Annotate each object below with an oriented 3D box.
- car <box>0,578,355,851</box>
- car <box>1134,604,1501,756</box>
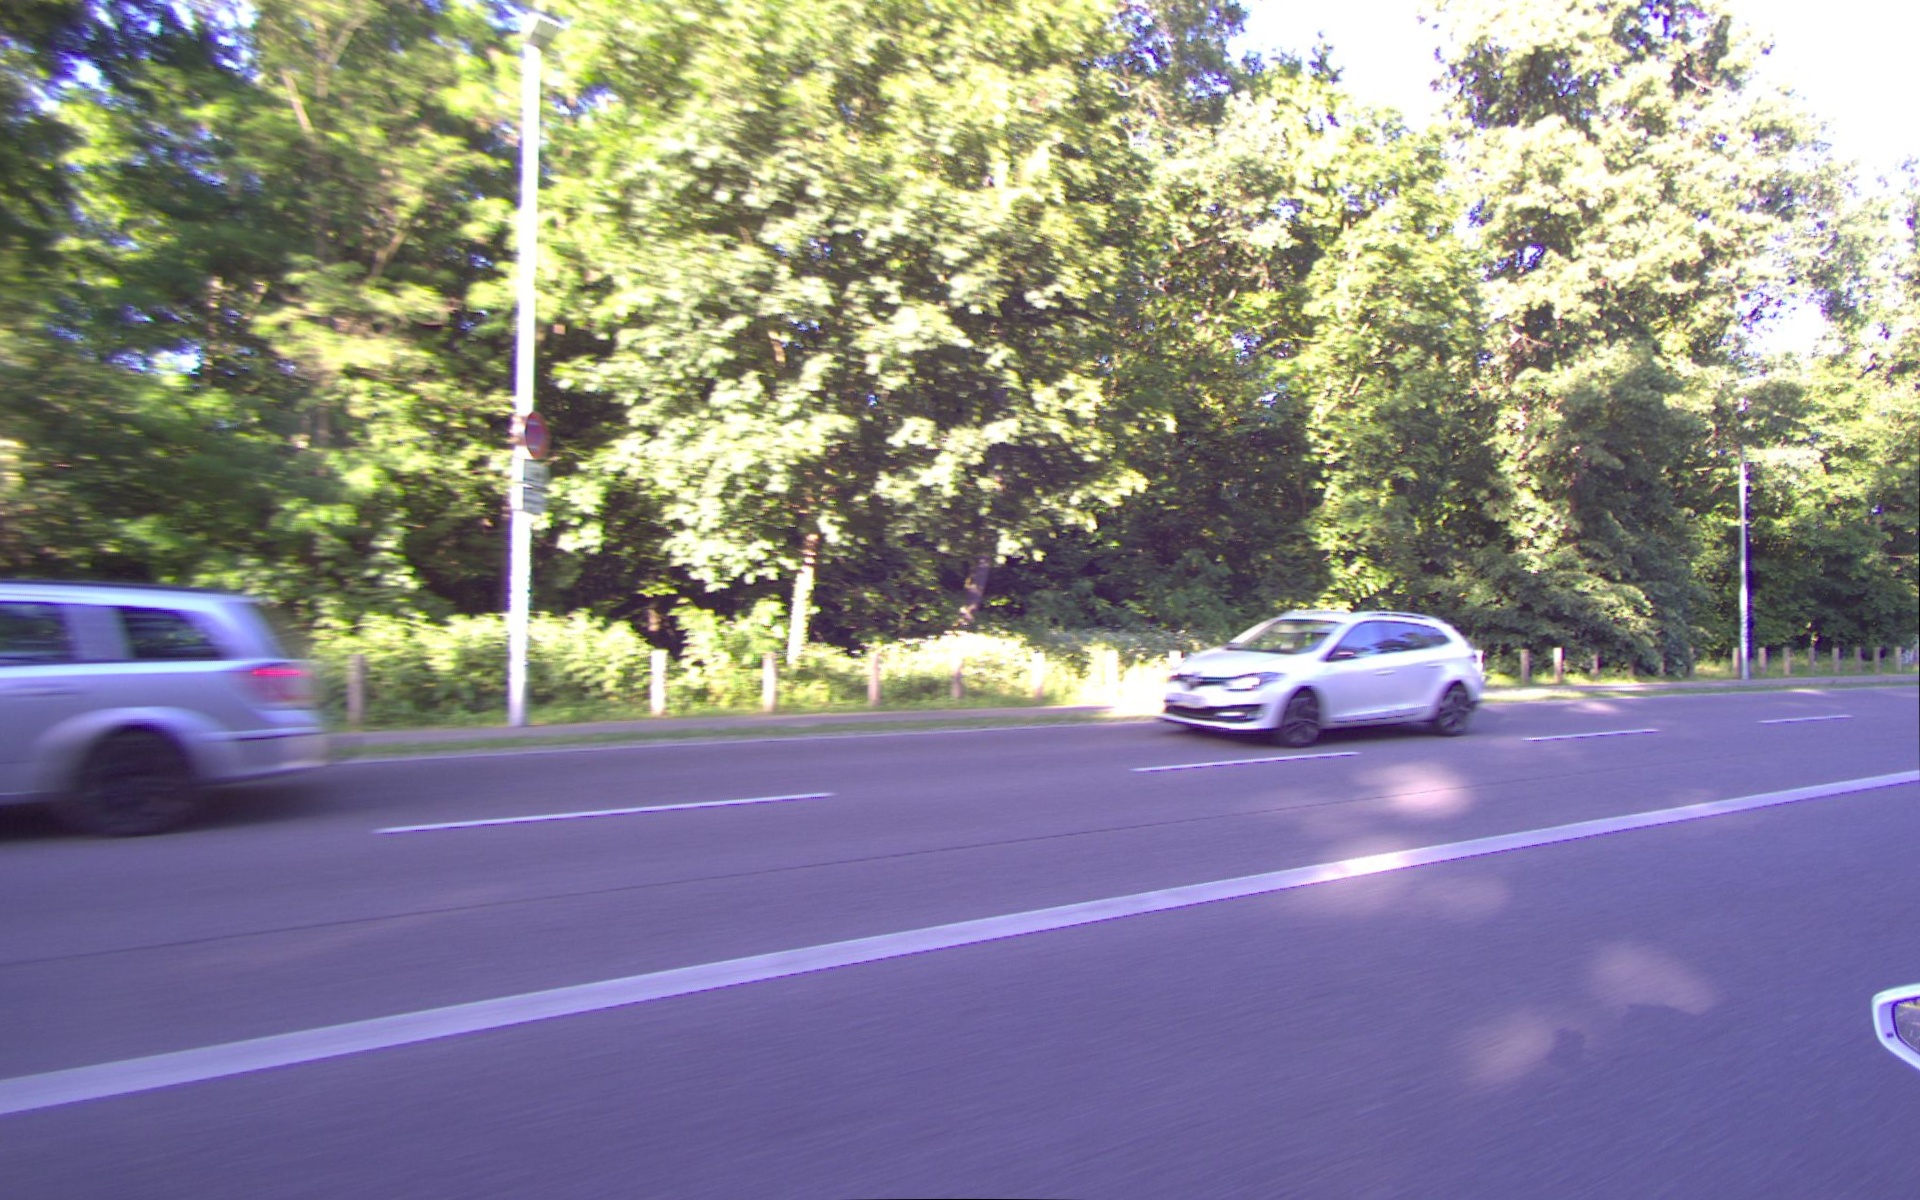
[{"bbox_3d":[-6.100,0.605,5.986,4.226,1.483,1.770,2,0,-31],"label":"car"},{"bbox_3d":[4.386,0.857,12.184,4.344,1.543,1.775,1,0,-29],"label":"car"}]
